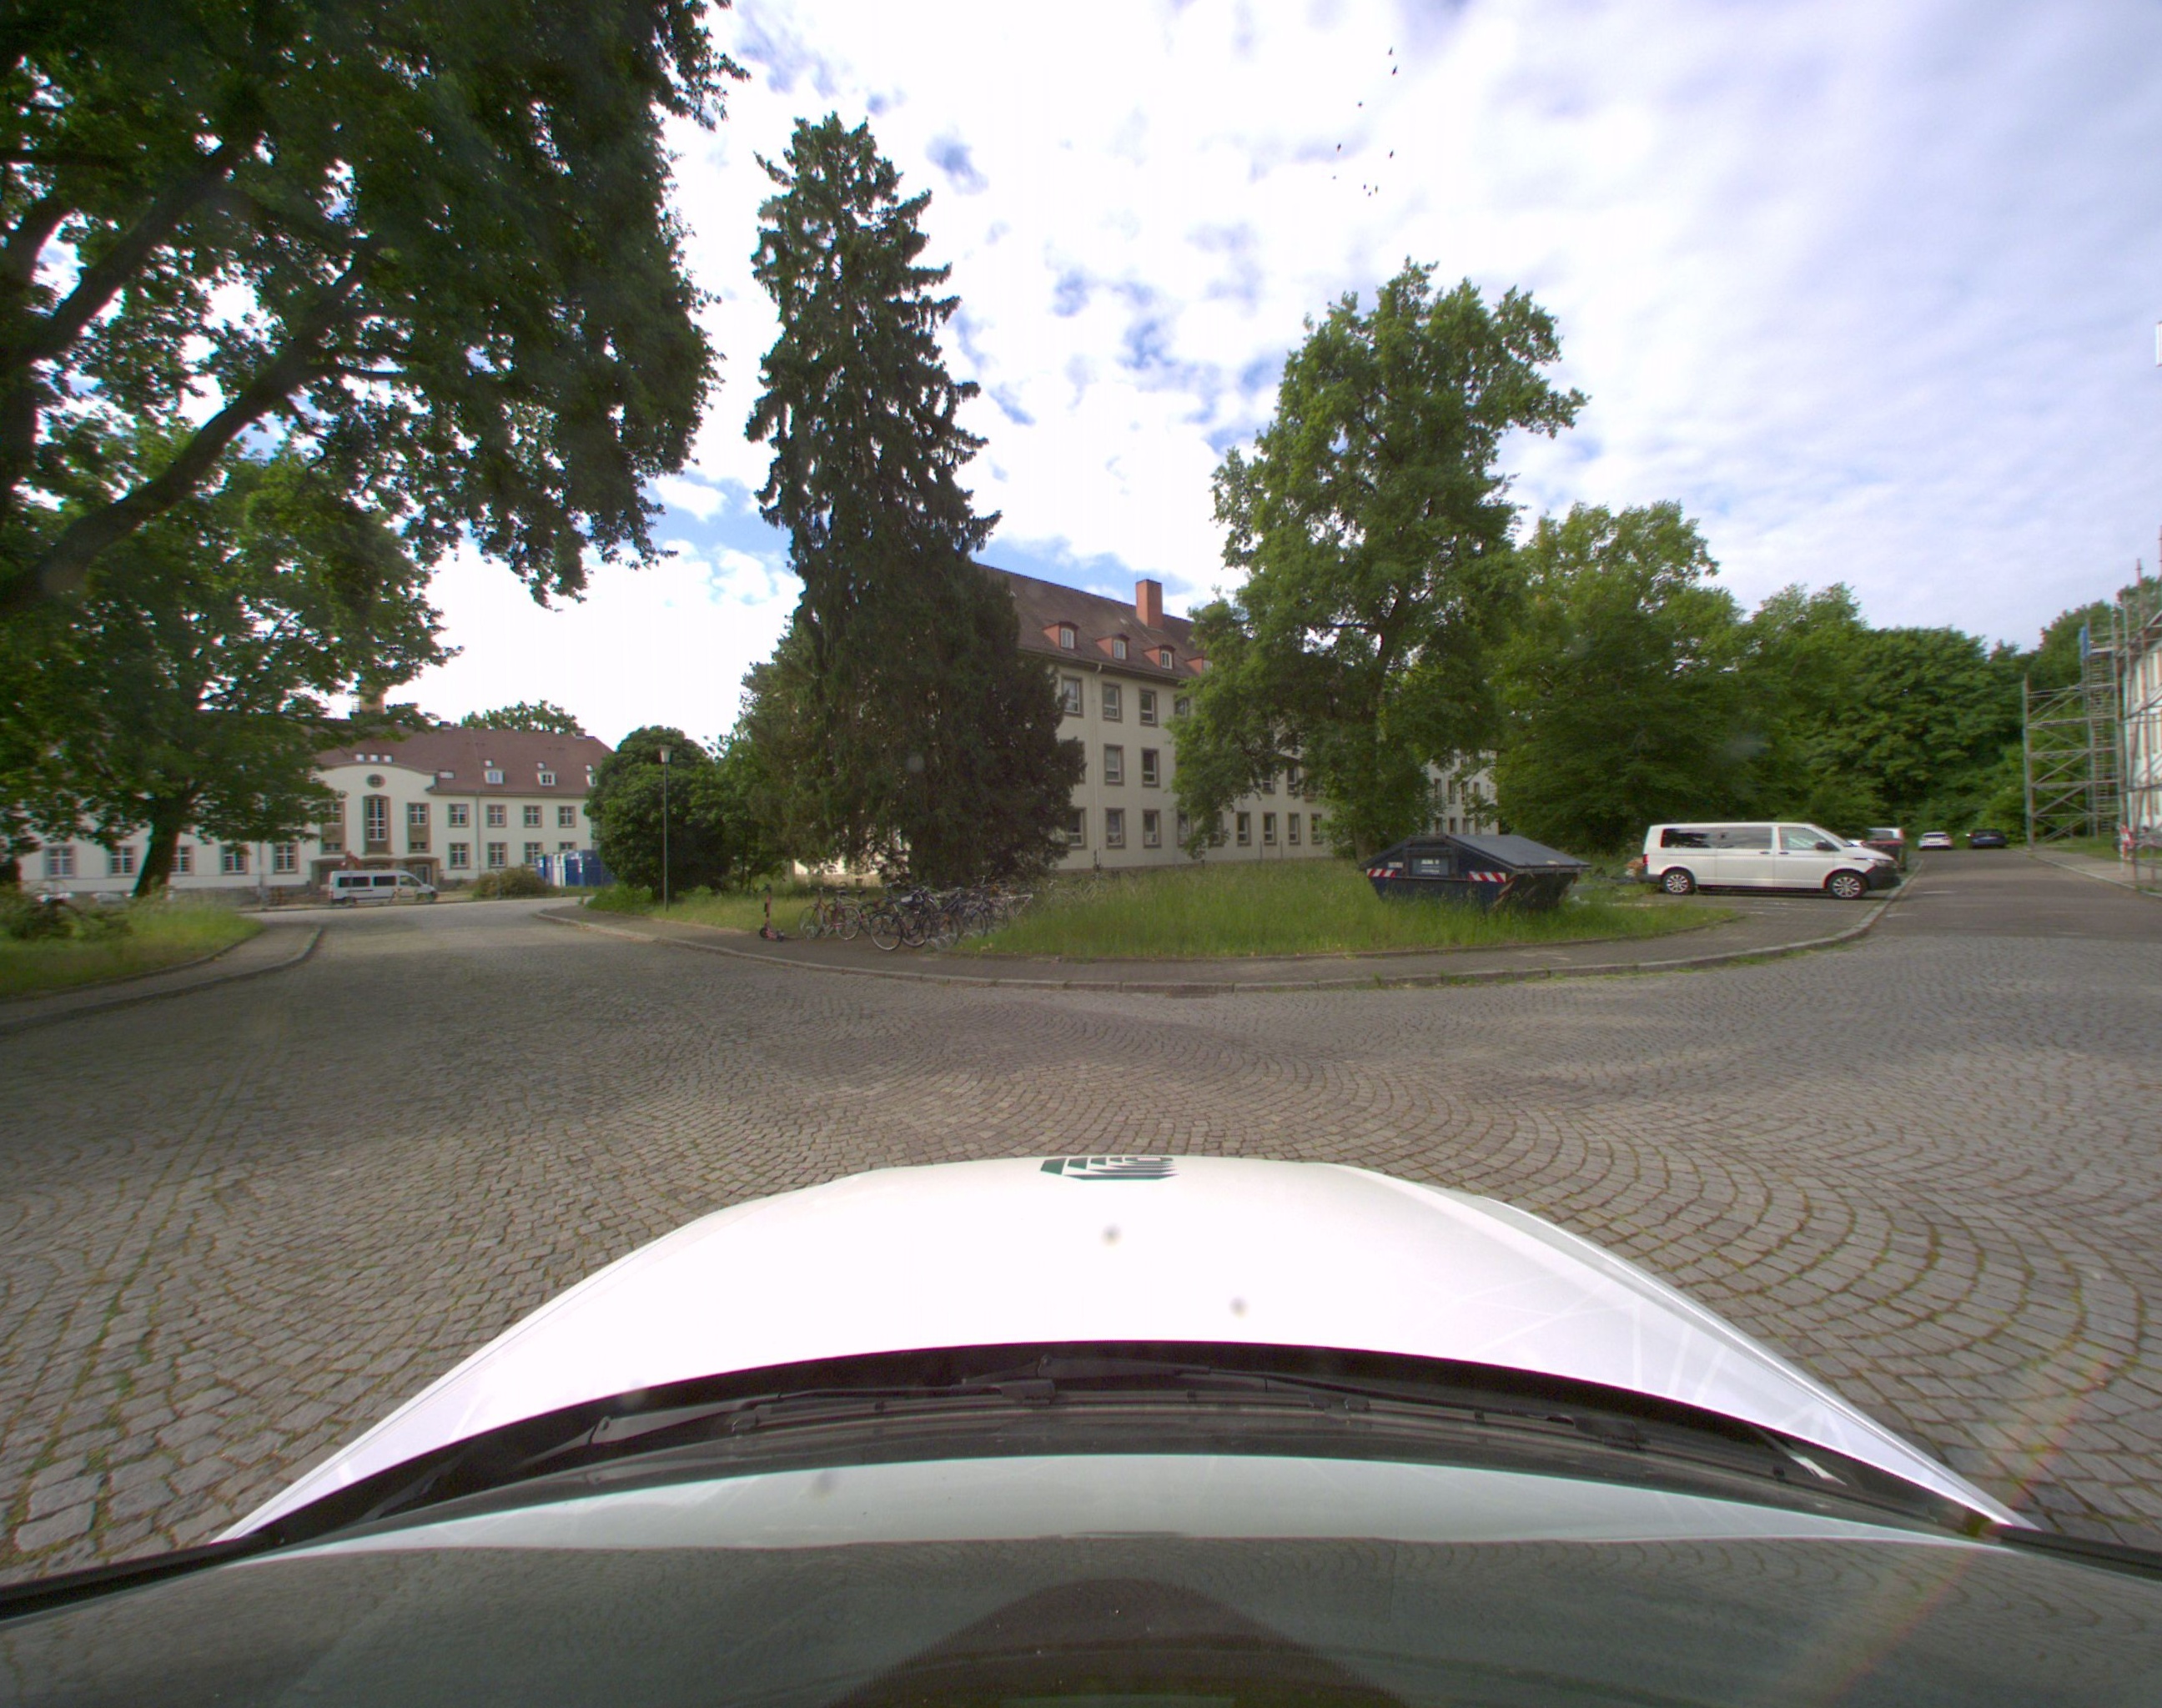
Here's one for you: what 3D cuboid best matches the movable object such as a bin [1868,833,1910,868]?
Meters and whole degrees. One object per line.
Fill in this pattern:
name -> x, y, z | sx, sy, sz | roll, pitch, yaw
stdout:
movable object such as a bin -> 33.752, -0.148, 34.018 | 0.980, 1.407, 1.173 | 0, 2, -42

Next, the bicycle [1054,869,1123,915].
bicycle -> 0.181, 0.948, 20.337 | 1.601, 1.059, 0.530 | -3, 1, 29

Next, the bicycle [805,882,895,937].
bicycle -> -5.101, 1.201, 17.954 | 1.966, 1.114, 0.648 | -2, 2, 29

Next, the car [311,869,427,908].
car -> -46.050, 2.163, 52.796 | 5.562, 2.207, 2.101 | 0, 2, -42

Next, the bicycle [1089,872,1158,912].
bicycle -> 1.056, 0.955, 20.473 | 1.601, 0.911, 0.530 | -3, 1, 29

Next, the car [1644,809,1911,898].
car -> 18.232, -0.021, 21.543 | 2.200, 2.060, 5.154 | -1, 0, -43

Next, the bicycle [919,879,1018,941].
bicycle -> -2.193, 1.086, 15.763 | 1.751, 1.103, 0.707 | -3, 1, 29

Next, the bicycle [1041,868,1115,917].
bicycle -> -0.087, 0.945, 19.853 | 1.680, 1.116, 0.545 | -3, 1, 29

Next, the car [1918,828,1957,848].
car -> 68.202, -1.270, 64.892 | 1.983, 1.547, 3.982 | 2, 2, 45

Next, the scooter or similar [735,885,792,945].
scooter or similar -> -6.831, 1.277, 17.490 | 0.685, 1.195, 1.535 | -3, 0, -39

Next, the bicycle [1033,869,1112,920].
bicycle -> -0.205, 0.964, 19.293 | 1.754, 1.105, 0.545 | -3, 1, 29

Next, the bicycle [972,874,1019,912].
bicycle -> -2.402, 1.098, 22.867 | 1.247, 1.029, 0.436 | -3, -3, 29

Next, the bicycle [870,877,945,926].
bicycle -> -4.110, 1.124, 19.286 | 1.611, 1.073, 0.542 | -2, 2, 18

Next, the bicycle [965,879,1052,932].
bicycle -> -1.519, 1.080, 17.050 | 1.675, 1.001, 0.636 | -3, 1, 29

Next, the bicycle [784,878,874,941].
bicycle -> -5.376, 1.160, 17.325 | 1.877, 1.222, 0.648 | -1, 2, 29

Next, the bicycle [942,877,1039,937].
bicycle -> -1.829, 1.065, 16.406 | 1.776, 1.103, 0.707 | -3, 1, 29

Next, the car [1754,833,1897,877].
car -> 27.534, -0.009, 30.215 | 1.828, 1.480, 3.602 | 0, 2, -34

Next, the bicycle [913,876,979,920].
bicycle -> -3.416, 1.110, 20.593 | 1.499, 1.035, 0.548 | -2, 2, 18

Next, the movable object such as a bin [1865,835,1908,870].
movable object such as a bin -> 32.839, -0.073, 33.192 | 0.980, 1.407, 1.173 | 0, 2, -42

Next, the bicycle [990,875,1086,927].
bicycle -> -0.949, 1.028, 17.681 | 1.935, 1.004, 0.691 | -3, 1, 29

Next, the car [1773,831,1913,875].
car -> 29.371, -0.088, 31.472 | 1.772, 1.592, 3.654 | 0, 2, -35

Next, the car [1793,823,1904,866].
car -> 38.196, -0.520, 40.625 | 3.950, 2.013, 1.933 | 2, 2, 44

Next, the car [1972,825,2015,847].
car -> 70.623, -1.390, 63.006 | 4.020, 1.593, 2.046 | 0, 2, -40

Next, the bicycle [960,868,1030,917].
bicycle -> -2.204, 0.998, 20.841 | 1.624, 1.185, 0.577 | -2, 2, 22
